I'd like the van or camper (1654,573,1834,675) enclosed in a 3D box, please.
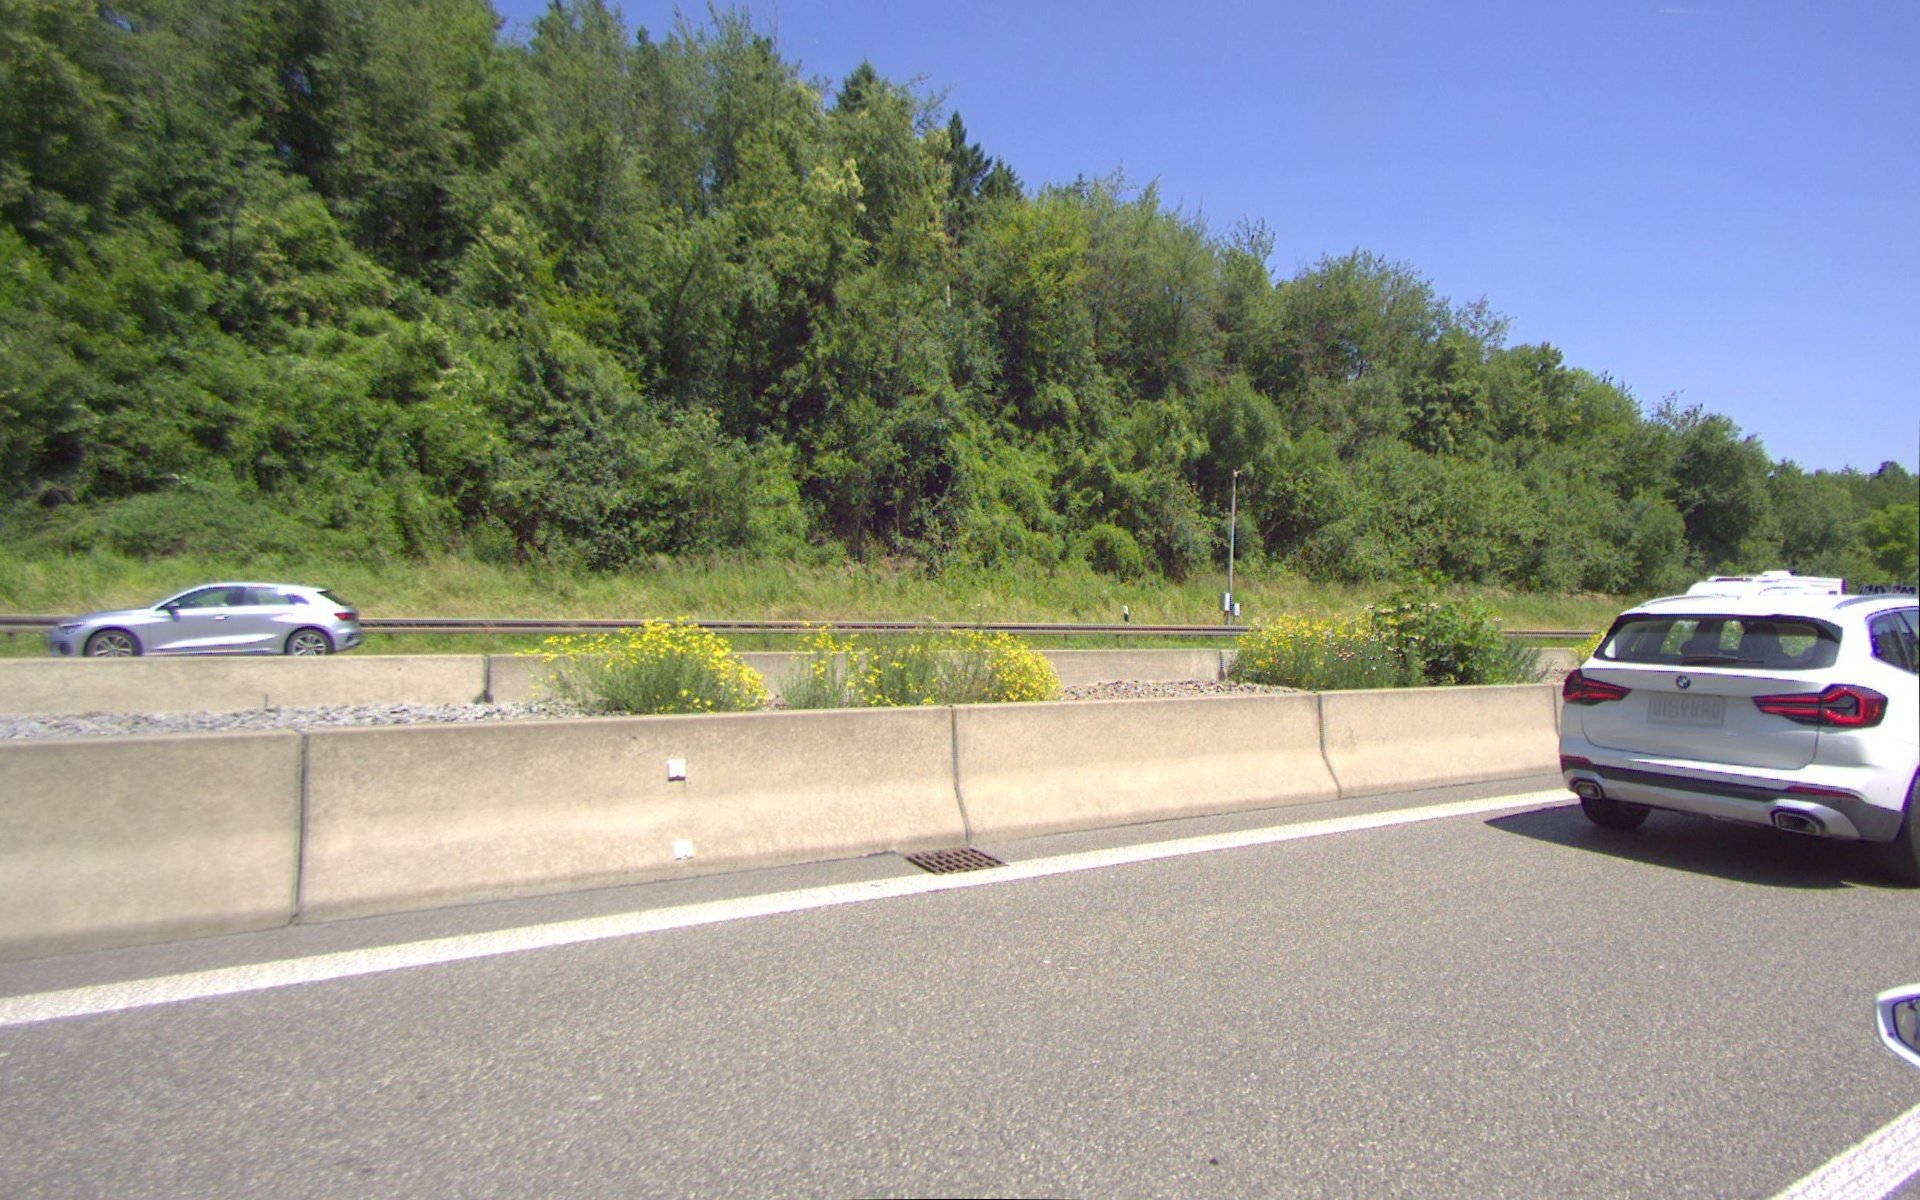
[{"bbox_3d":[24.636,0.754,31.481,6.481,2.938,2.246,1,0,-31],"label":"van or camper"}]

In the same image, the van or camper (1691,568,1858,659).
[{"bbox_3d":[33.783,0.646,41.526,8.901,3.361,2.527,3,-1,-31],"label":"van or camper"}]

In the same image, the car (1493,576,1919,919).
[{"bbox_3d":[6.099,0.801,7.091,4.898,1.717,1.855,2,-1,-31],"label":"car"}]

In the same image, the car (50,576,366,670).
[{"bbox_3d":[-12.746,0.393,17.422,4.143,1.451,1.984,1,0,-31],"label":"car"}]
